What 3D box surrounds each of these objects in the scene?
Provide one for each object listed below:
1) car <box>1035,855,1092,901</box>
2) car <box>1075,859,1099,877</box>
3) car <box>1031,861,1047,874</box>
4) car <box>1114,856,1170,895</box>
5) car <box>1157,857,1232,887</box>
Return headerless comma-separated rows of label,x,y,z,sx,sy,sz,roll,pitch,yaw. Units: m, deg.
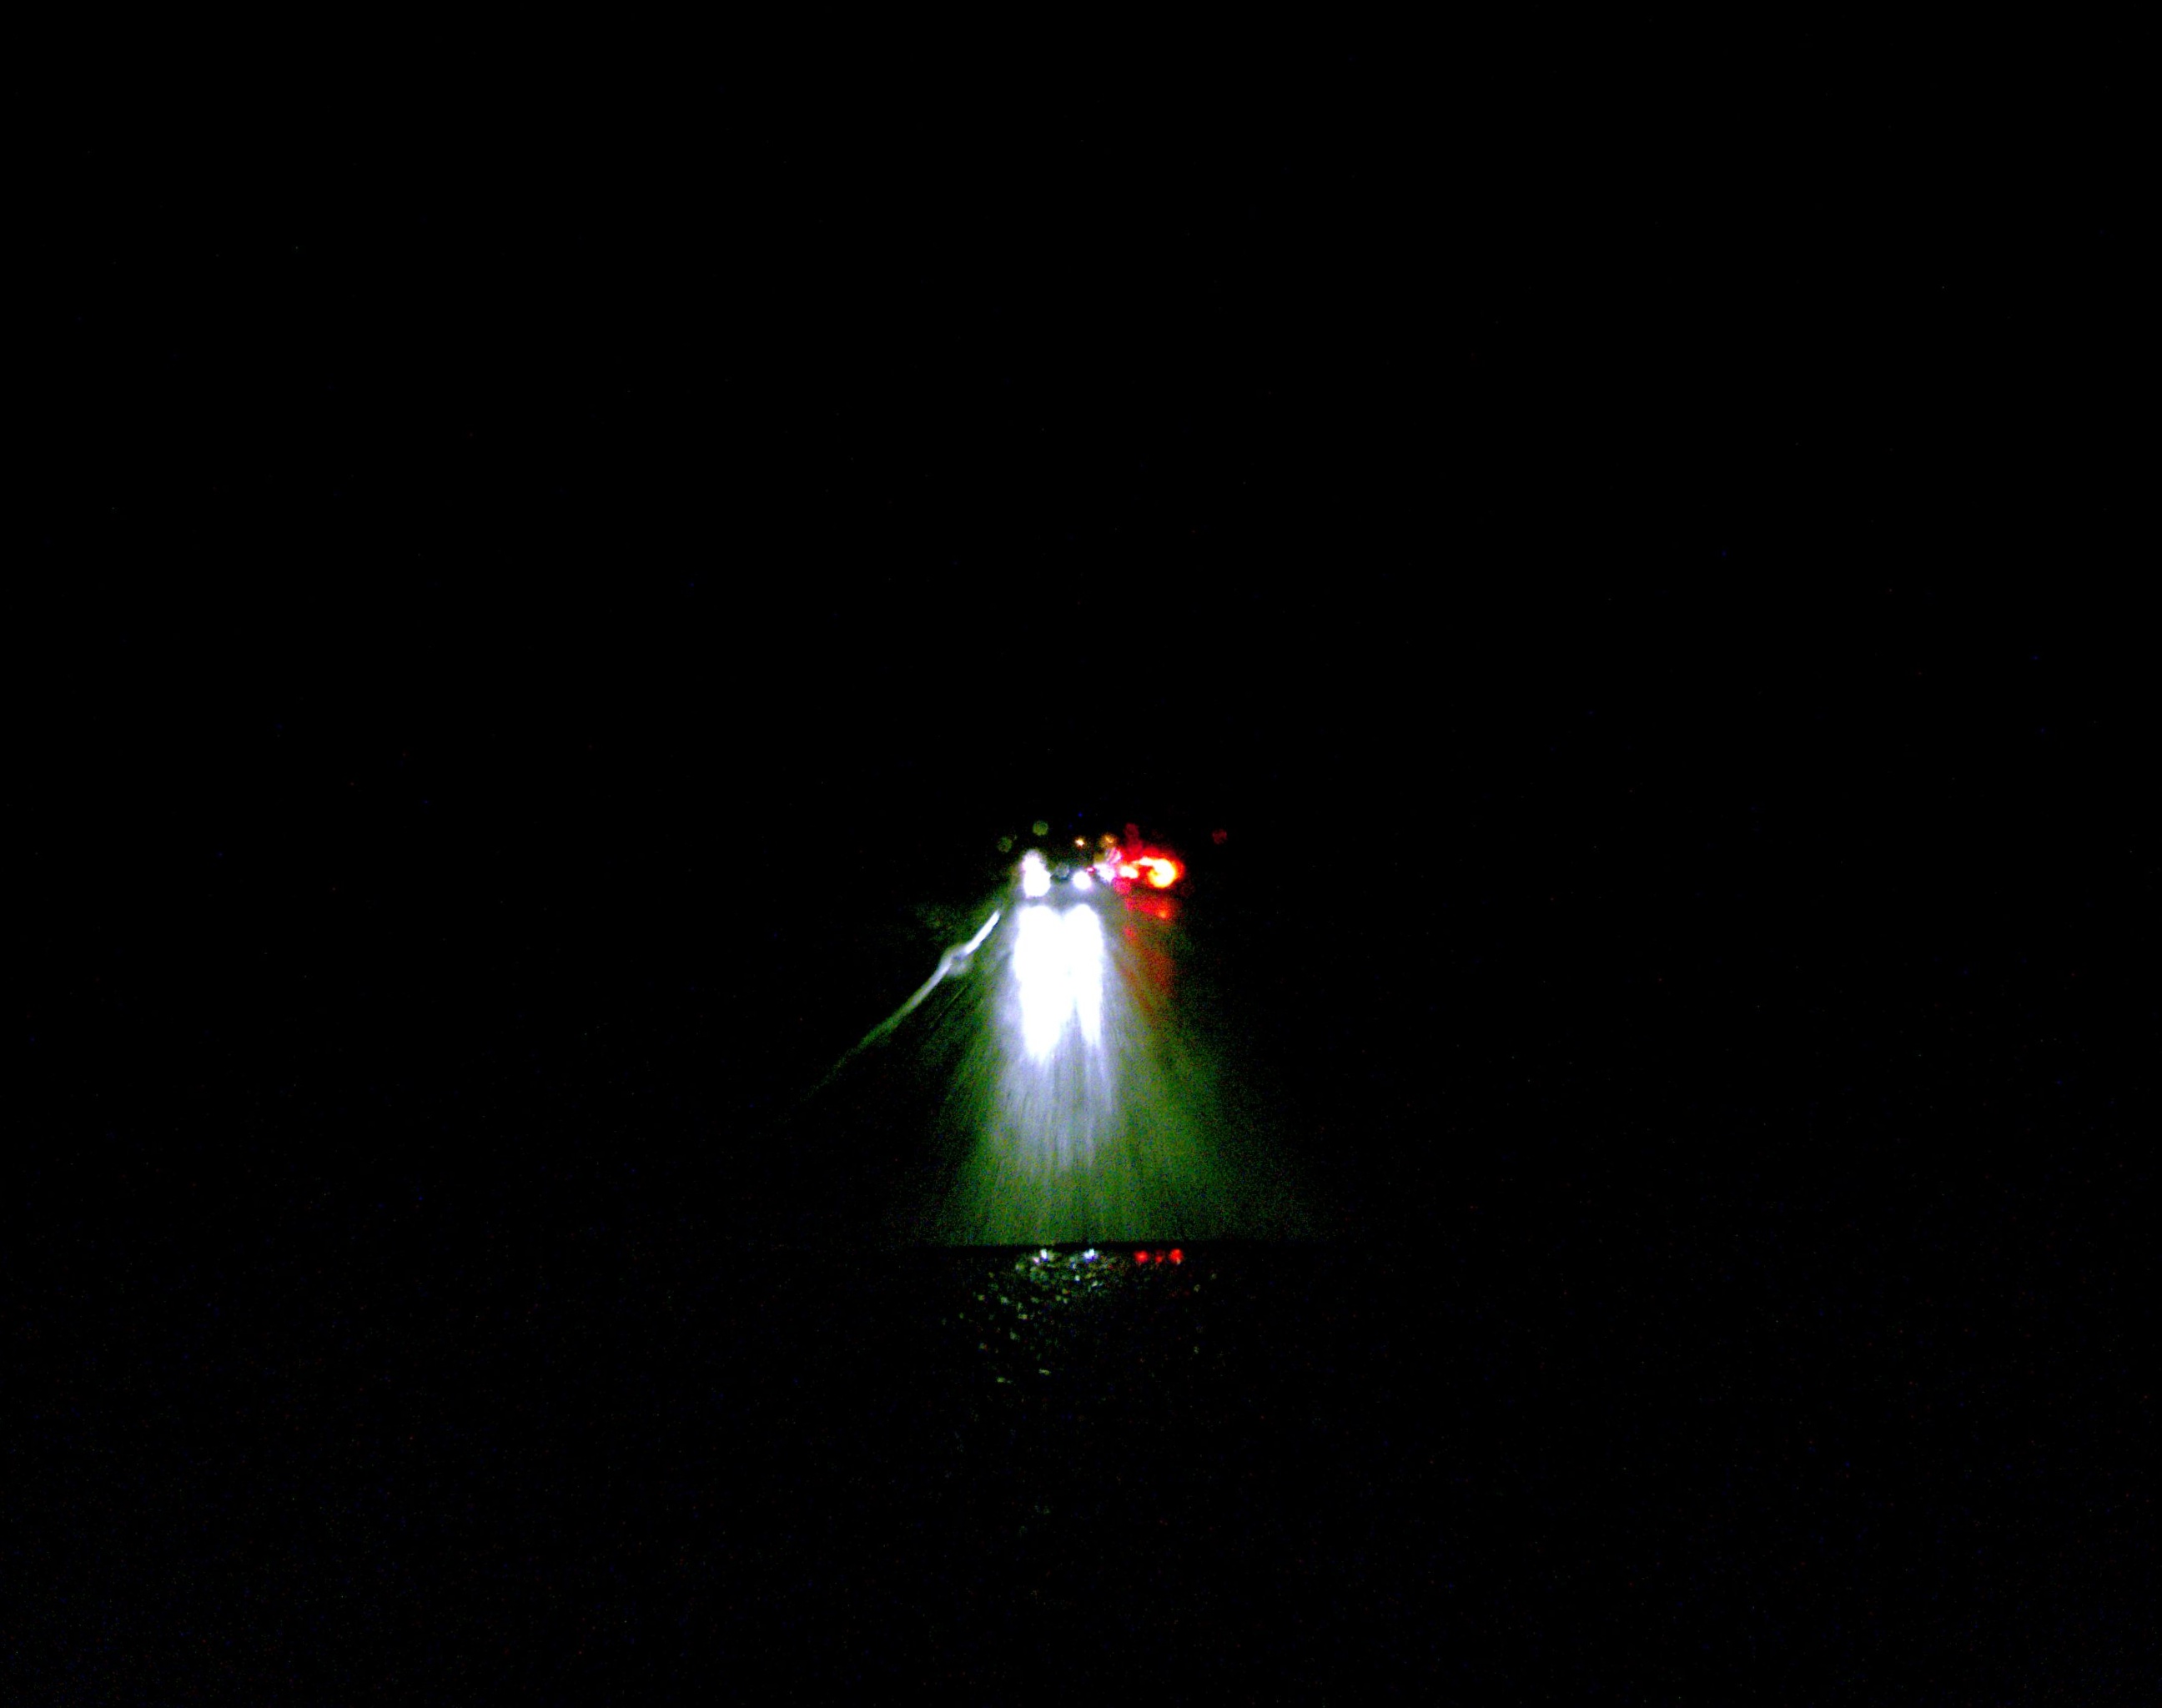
car,-0.708,0.822,28.139,1.902,1.552,3.999,1,0,-3
car,0.469,1.137,63.265,1.760,1.397,4.486,-1,-1,-3
car,-5.227,1.633,93.942,1.902,1.552,3.999,1,0,-3
car,2.506,0.866,32.366,1.770,1.533,4.147,-1,-1,-4
car,8.104,1.287,54.514,4.947,1.827,1.933,3,0,-2
